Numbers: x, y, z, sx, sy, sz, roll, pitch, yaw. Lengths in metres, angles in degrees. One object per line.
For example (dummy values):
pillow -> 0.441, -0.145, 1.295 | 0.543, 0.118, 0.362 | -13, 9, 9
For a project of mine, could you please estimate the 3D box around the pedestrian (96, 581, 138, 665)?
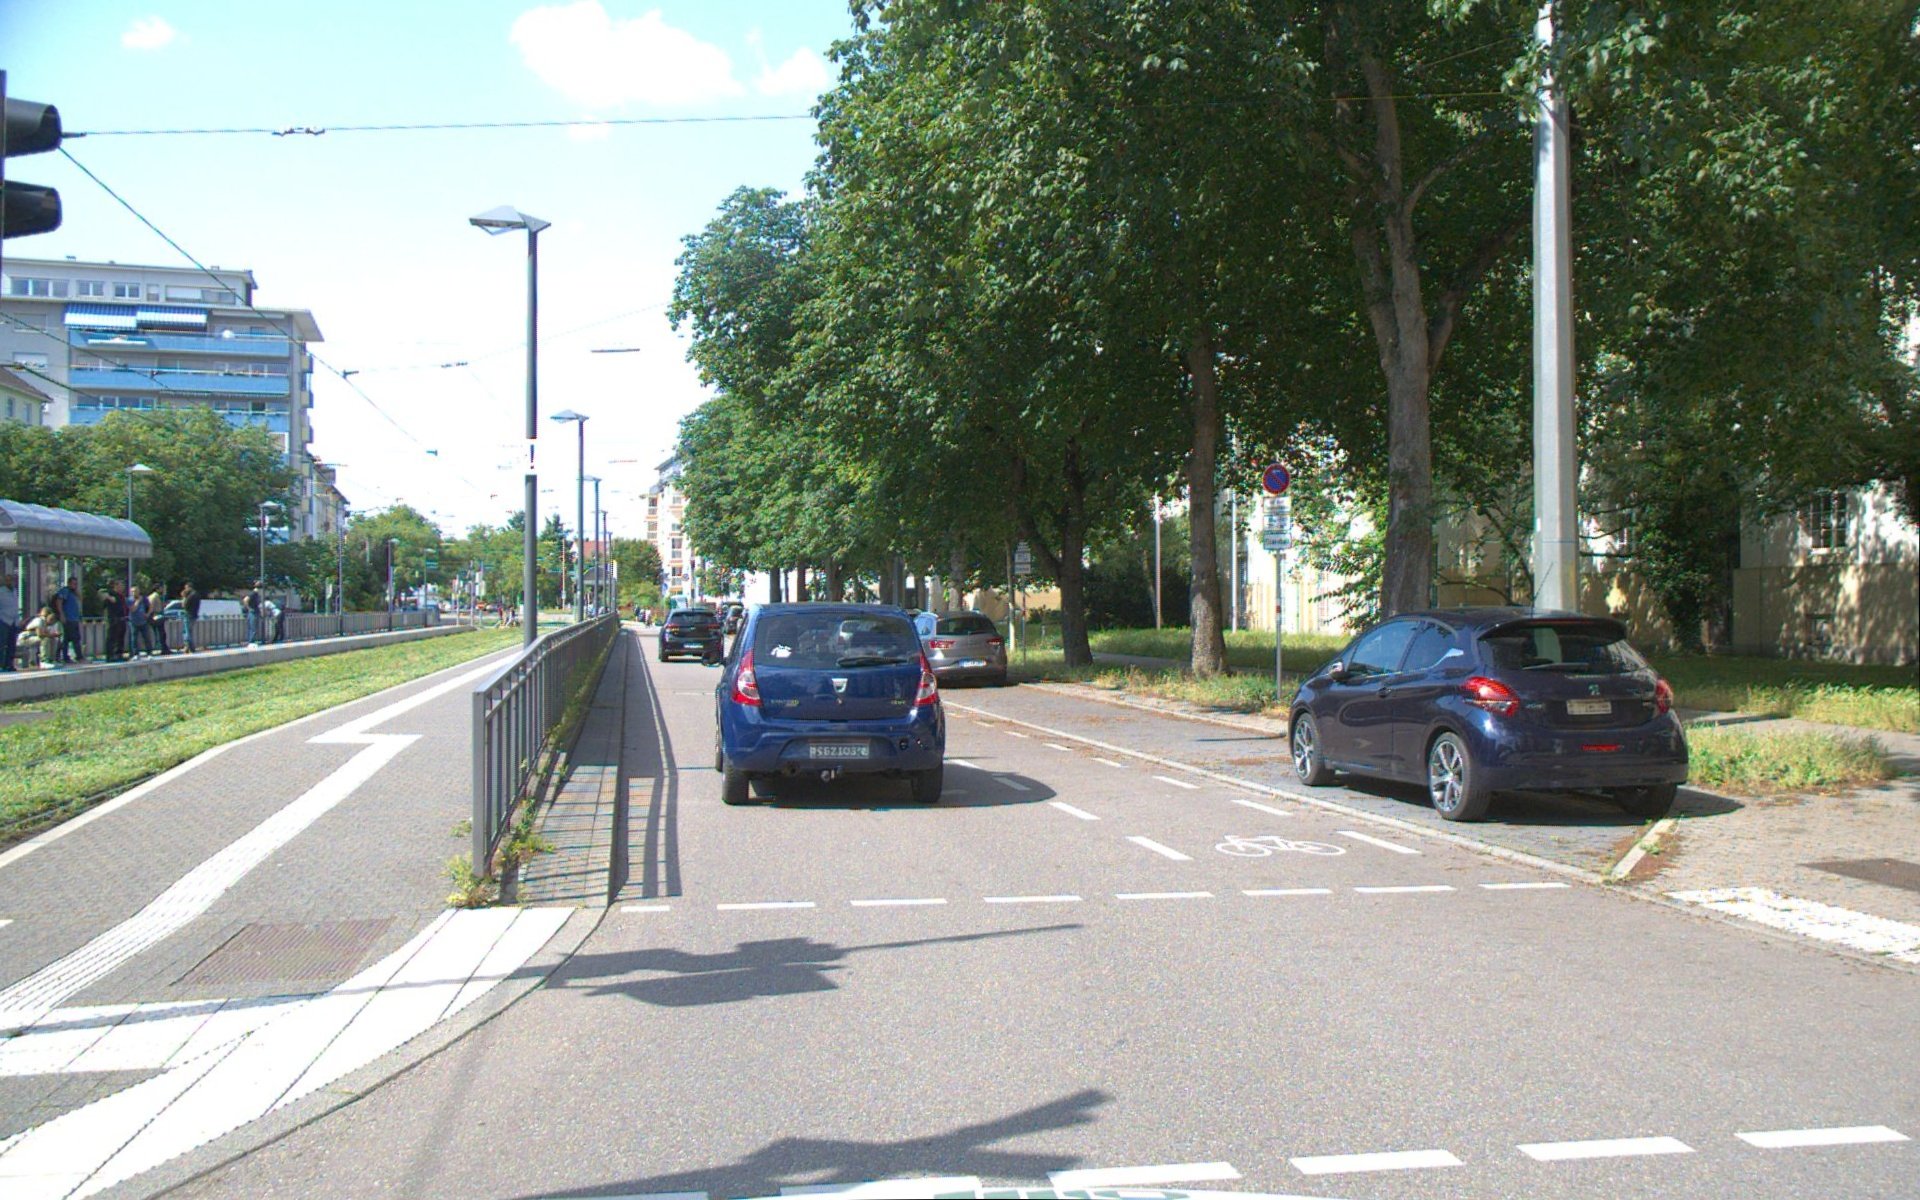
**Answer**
pedestrian -> -18.192, 0.484, 35.703 | 0.592, 1.797, 0.638 | 0, 0, -2

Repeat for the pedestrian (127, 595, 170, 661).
pedestrian -> -17.890, 0.615, 36.465 | 0.641, 1.451, 0.562 | -1, 0, 26

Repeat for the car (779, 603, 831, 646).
car -> -5.797, 0.887, 61.884 | 1.825, 1.471, 3.995 | -2, 0, -6

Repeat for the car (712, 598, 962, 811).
car -> -1.140, 0.729, 13.616 | 1.735, 1.487, 3.767 | 0, 0, -9

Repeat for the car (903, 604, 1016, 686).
car -> -0.073, 0.847, 33.038 | 1.825, 1.470, 3.995 | -2, 0, -6

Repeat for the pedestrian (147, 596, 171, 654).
pedestrian -> -20.411, 0.634, 42.146 | 0.481, 1.477, 0.461 | -1, 0, -21

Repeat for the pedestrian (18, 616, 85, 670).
pedestrian -> -17.648, 0.830, 32.138 | 0.907, 1.006, 0.795 | -2, -2, -9

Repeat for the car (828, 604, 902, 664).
car -> -2.633, 0.894, 44.988 | 1.825, 1.470, 3.995 | -2, 0, -6

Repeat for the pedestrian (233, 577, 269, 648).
pedestrian -> -20.627, 0.366, 48.133 | 0.786, 2.049, 0.661 | 0, 0, -8

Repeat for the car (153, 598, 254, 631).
car -> -35.443, 0.663, 77.560 | 1.699, 1.472, 3.972 | 0, 0, 44

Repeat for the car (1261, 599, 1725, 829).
car -> 3.901, 0.746, 12.849 | 1.734, 1.458, 3.893 | -1, 0, -12

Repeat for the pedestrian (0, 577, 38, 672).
pedestrian -> -17.556, 0.452, 30.630 | 0.643, 1.722, 0.655 | -1, 0, -10

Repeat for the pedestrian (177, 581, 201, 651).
pedestrian -> -19.646, 0.406, 42.144 | 0.481, 1.742, 0.461 | -1, 0, -21

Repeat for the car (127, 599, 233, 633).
car -> -34.130, 0.690, 72.475 | 1.605, 1.410, 3.988 | 0, 0, 34

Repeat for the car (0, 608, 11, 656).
car -> -29.866, 0.974, 47.714 | 1.683, 1.391, 3.982 | -1, 0, 38

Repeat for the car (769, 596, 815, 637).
car -> -6.804, 0.657, 67.090 | 1.792, 1.564, 3.995 | -1, 0, -6

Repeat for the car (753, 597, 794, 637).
car -> -8.522, 0.757, 75.454 | 1.588, 1.780, 3.990 | 0, 0, -10

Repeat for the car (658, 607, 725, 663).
car -> -7.391, 0.943, 45.754 | 1.667, 1.391, 3.510 | 1, 1, -7

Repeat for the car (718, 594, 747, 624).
car -> -13.743, 0.523, 99.944 | 1.636, 1.803, 3.994 | 0, 0, -7

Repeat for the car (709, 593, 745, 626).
car -> -13.190, 0.519, 93.788 | 1.795, 1.792, 3.995 | 0, 0, -6

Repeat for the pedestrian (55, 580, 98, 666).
pedestrian -> -18.456, 0.474, 34.554 | 0.582, 1.766, 0.556 | -1, 0, -6

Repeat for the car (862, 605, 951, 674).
car -> -1.314, 0.887, 38.990 | 1.825, 1.470, 3.995 | -2, 0, -6

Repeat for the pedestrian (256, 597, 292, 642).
pedestrian -> -22.965, 0.636, 55.367 | 1.016, 1.463, 0.697 | -2, 1, -26
